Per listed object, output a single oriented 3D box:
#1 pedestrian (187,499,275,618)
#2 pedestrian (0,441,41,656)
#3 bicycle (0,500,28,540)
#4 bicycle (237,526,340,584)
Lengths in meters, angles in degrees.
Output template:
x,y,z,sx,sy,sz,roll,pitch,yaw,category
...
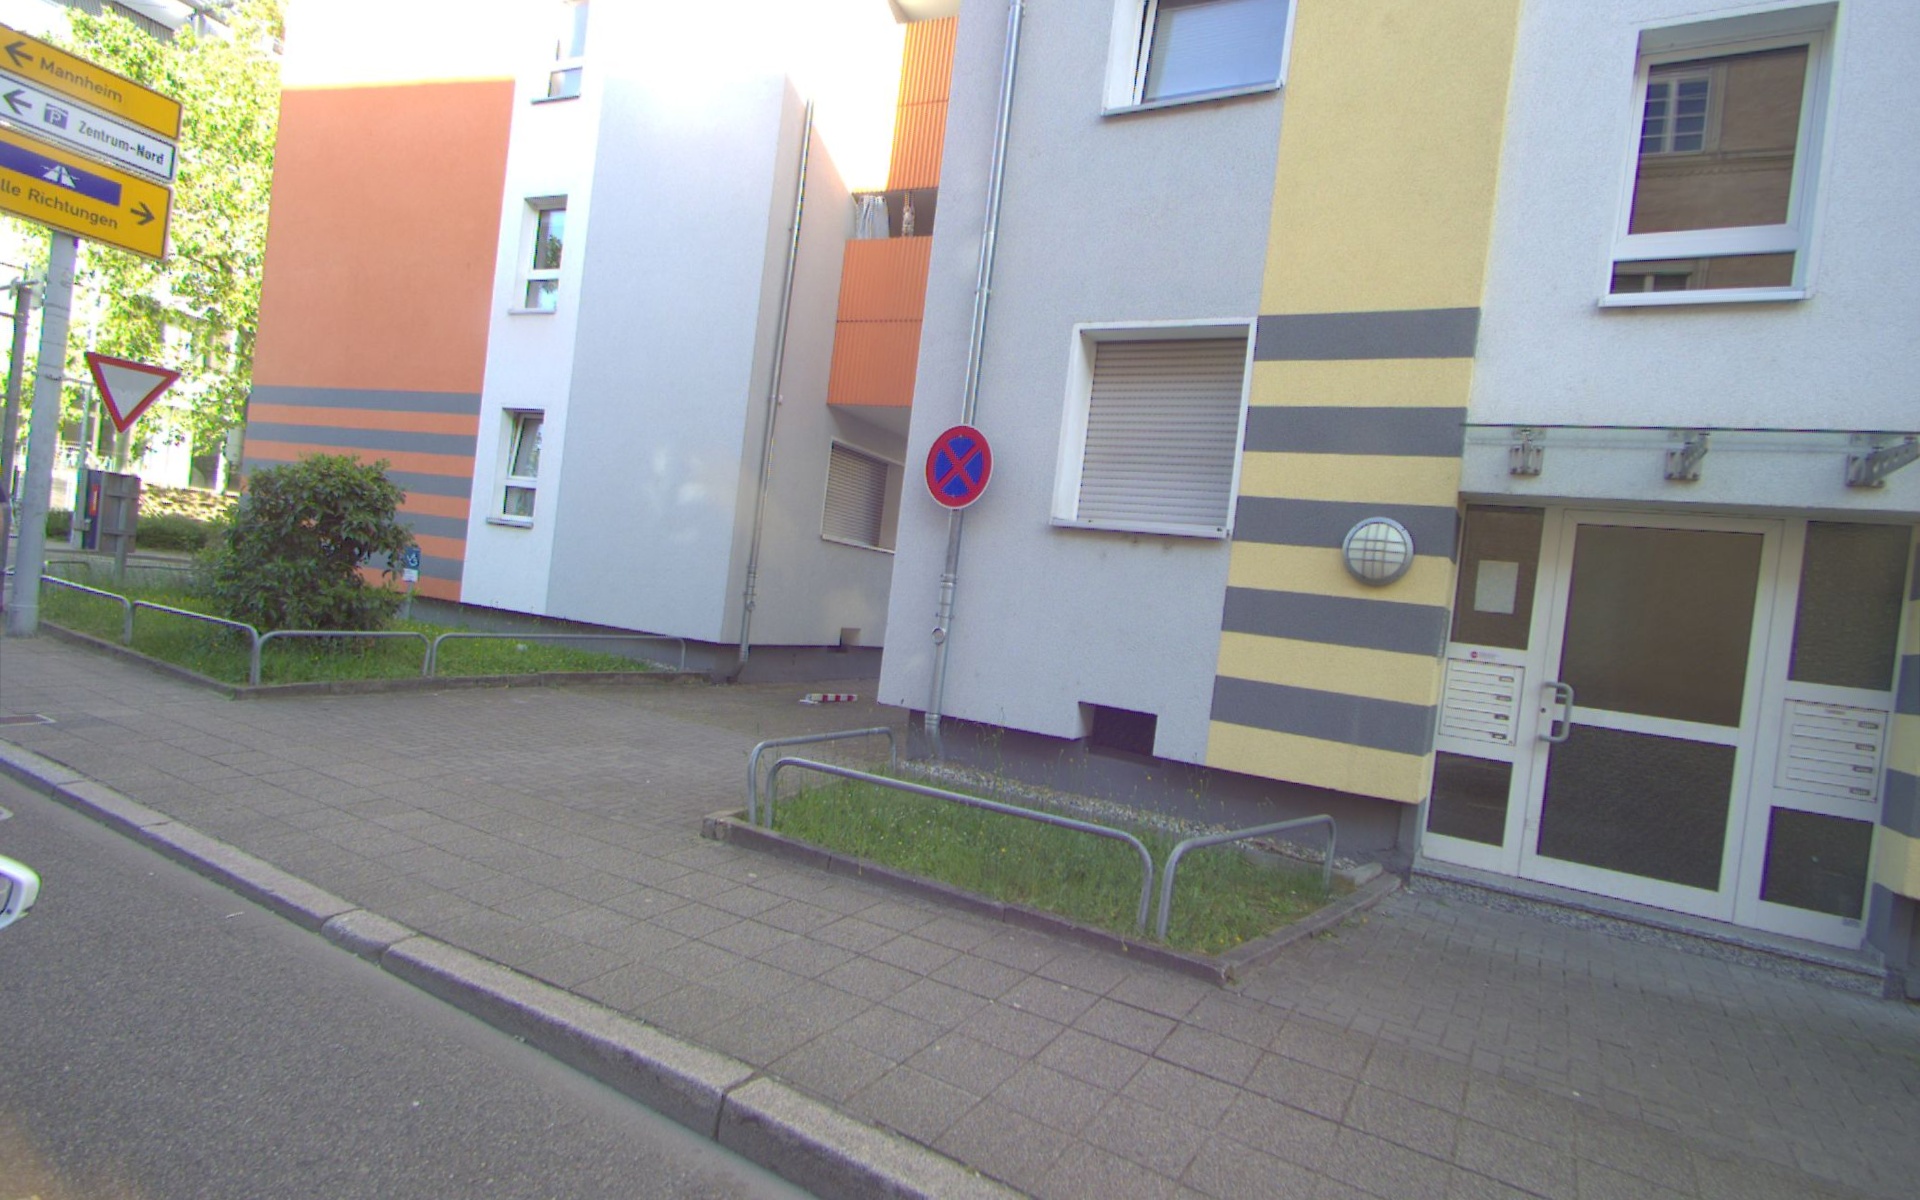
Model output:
x,y,z,sx,sy,sz,roll,pitch,yaw,category
-11.993,-0.665,16.577,0.688,1.831,0.720,7,-1,2,pedestrian
-8.645,-0.487,8.689,0.708,1.831,0.701,6,-1,31,pedestrian
-26.375,-2.245,27.381,1.409,1.021,0.379,7,1,-11,bicycle
-16.615,-1.097,24.952,0.583,1.166,1.963,7,0,37,bicycle
